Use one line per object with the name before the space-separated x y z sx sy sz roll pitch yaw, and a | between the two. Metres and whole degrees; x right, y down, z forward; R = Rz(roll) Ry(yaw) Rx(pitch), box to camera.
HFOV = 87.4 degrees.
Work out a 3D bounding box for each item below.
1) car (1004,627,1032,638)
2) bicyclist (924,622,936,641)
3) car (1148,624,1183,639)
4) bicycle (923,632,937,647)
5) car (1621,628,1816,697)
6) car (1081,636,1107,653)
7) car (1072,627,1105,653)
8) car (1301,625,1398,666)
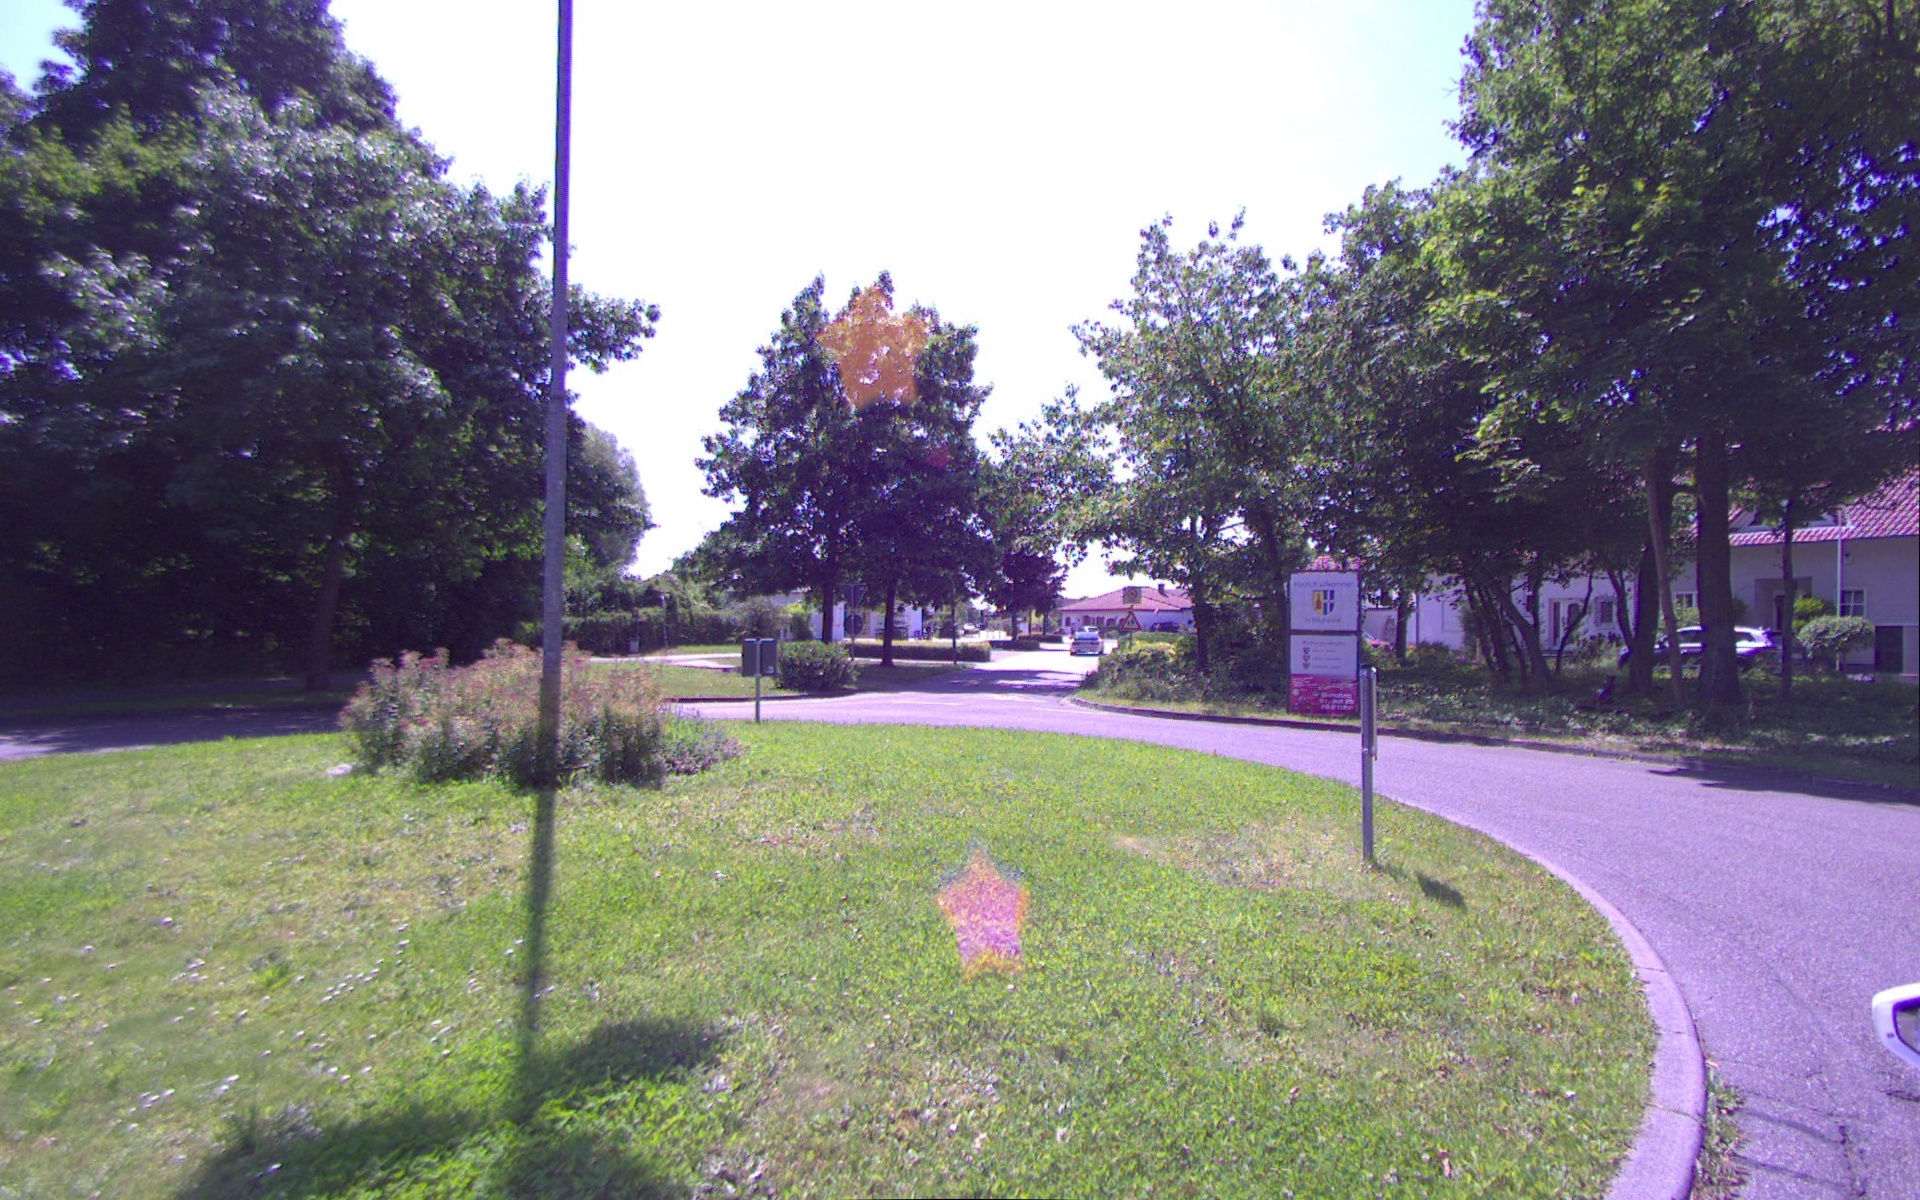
car | 7.168 3.967 124.590 1.970 1.305 3.982 1 -2 -20
bicyclist | -1.903 1.988 63.836 0.587 1.180 0.649 0 -1 9
car | 23.276 3.574 113.706 3.796 1.563 1.837 2 -2 -34
bicycle | -1.925 2.486 63.722 0.587 0.941 1.621 0 -1 9
car | 21.104 1.682 28.137 1.642 1.727 4.120 1 -1 -23
car | 12.454 4.149 93.717 1.602 1.506 3.998 0 -1 -4
car | 6.875 2.120 53.558 1.587 1.305 3.559 1 -1 10
car | 16.280 1.863 42.170 1.640 1.622 4.010 1 -1 -19
